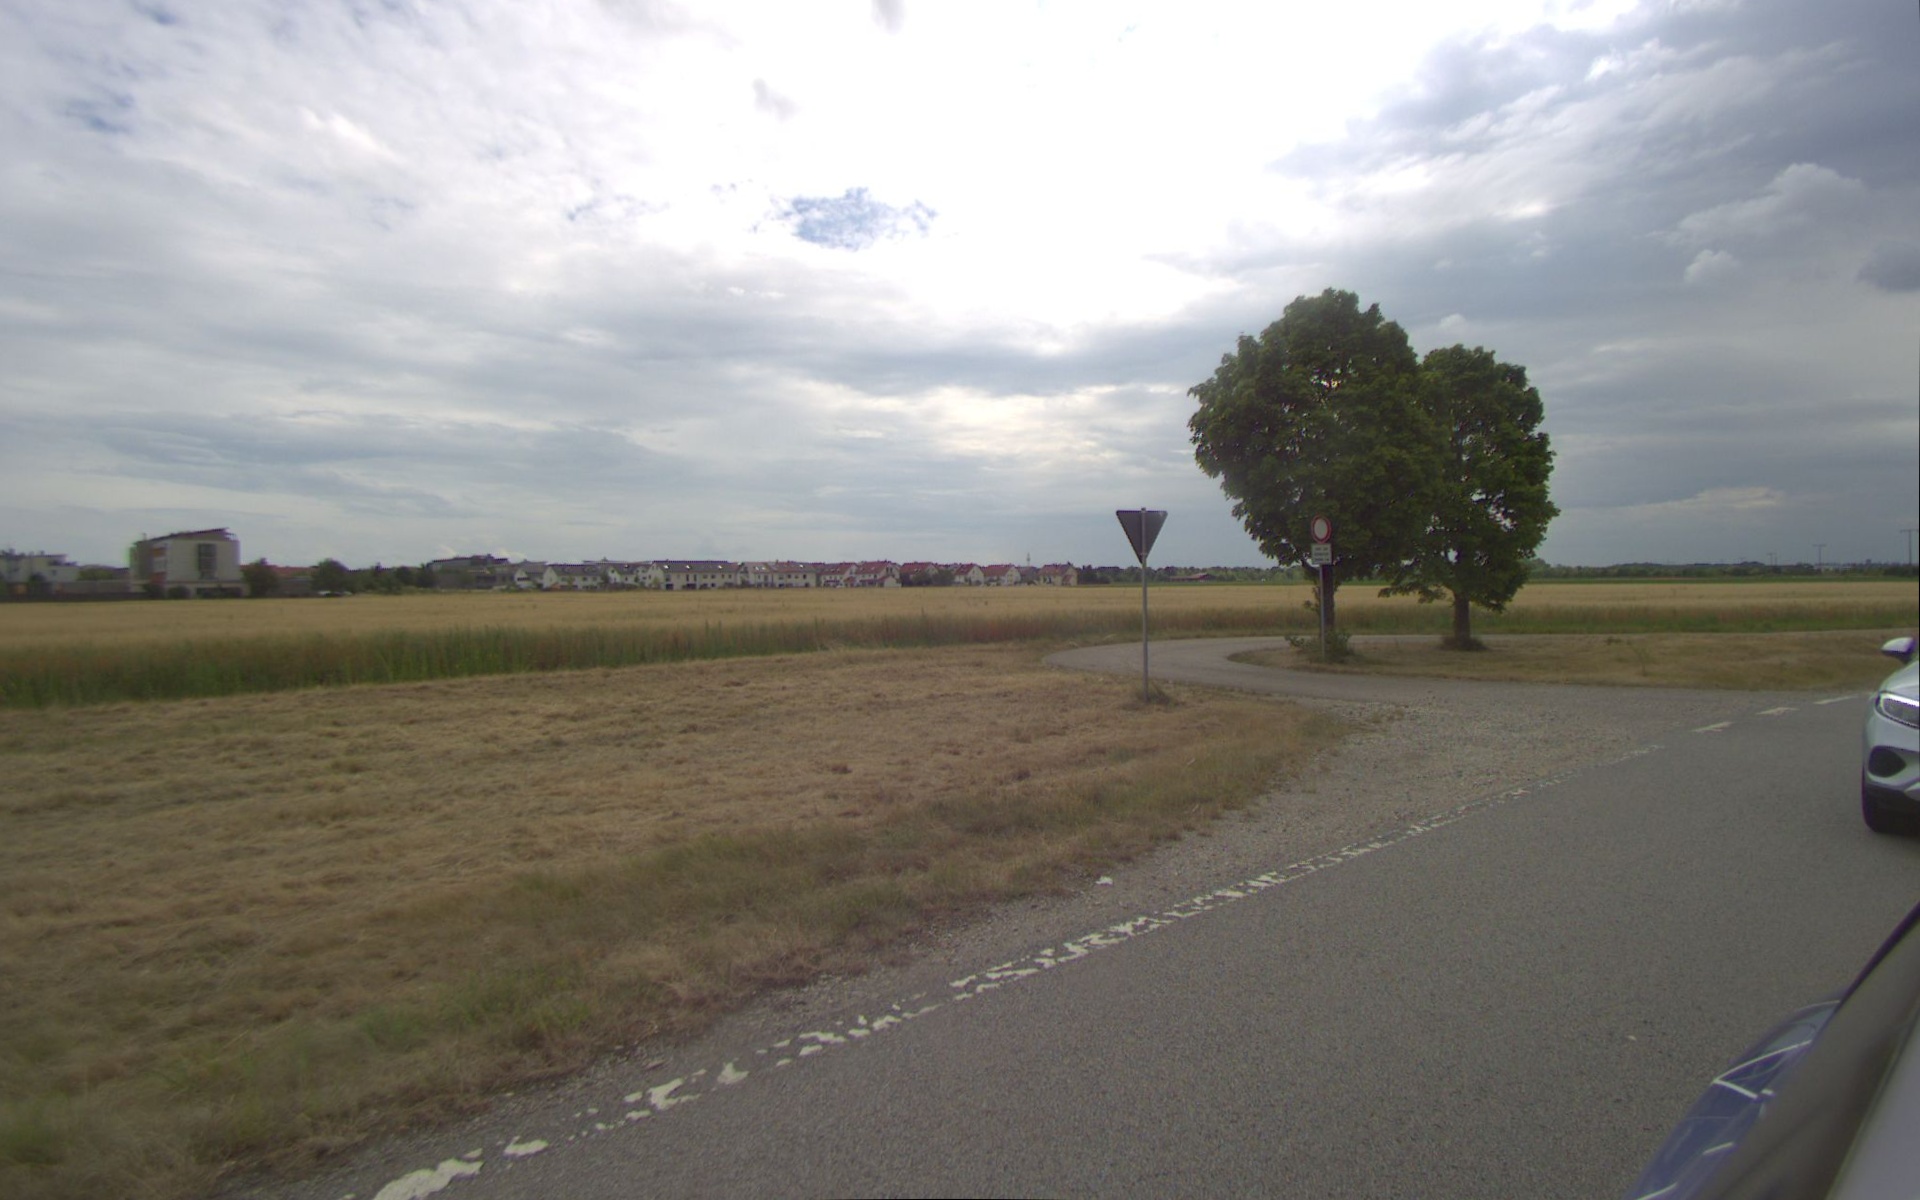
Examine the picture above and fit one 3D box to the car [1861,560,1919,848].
[{"bbox_3d":[7.445,0.579,6.584,4.372,1.606,1.835,0,1,-41],"label":"car"}]
